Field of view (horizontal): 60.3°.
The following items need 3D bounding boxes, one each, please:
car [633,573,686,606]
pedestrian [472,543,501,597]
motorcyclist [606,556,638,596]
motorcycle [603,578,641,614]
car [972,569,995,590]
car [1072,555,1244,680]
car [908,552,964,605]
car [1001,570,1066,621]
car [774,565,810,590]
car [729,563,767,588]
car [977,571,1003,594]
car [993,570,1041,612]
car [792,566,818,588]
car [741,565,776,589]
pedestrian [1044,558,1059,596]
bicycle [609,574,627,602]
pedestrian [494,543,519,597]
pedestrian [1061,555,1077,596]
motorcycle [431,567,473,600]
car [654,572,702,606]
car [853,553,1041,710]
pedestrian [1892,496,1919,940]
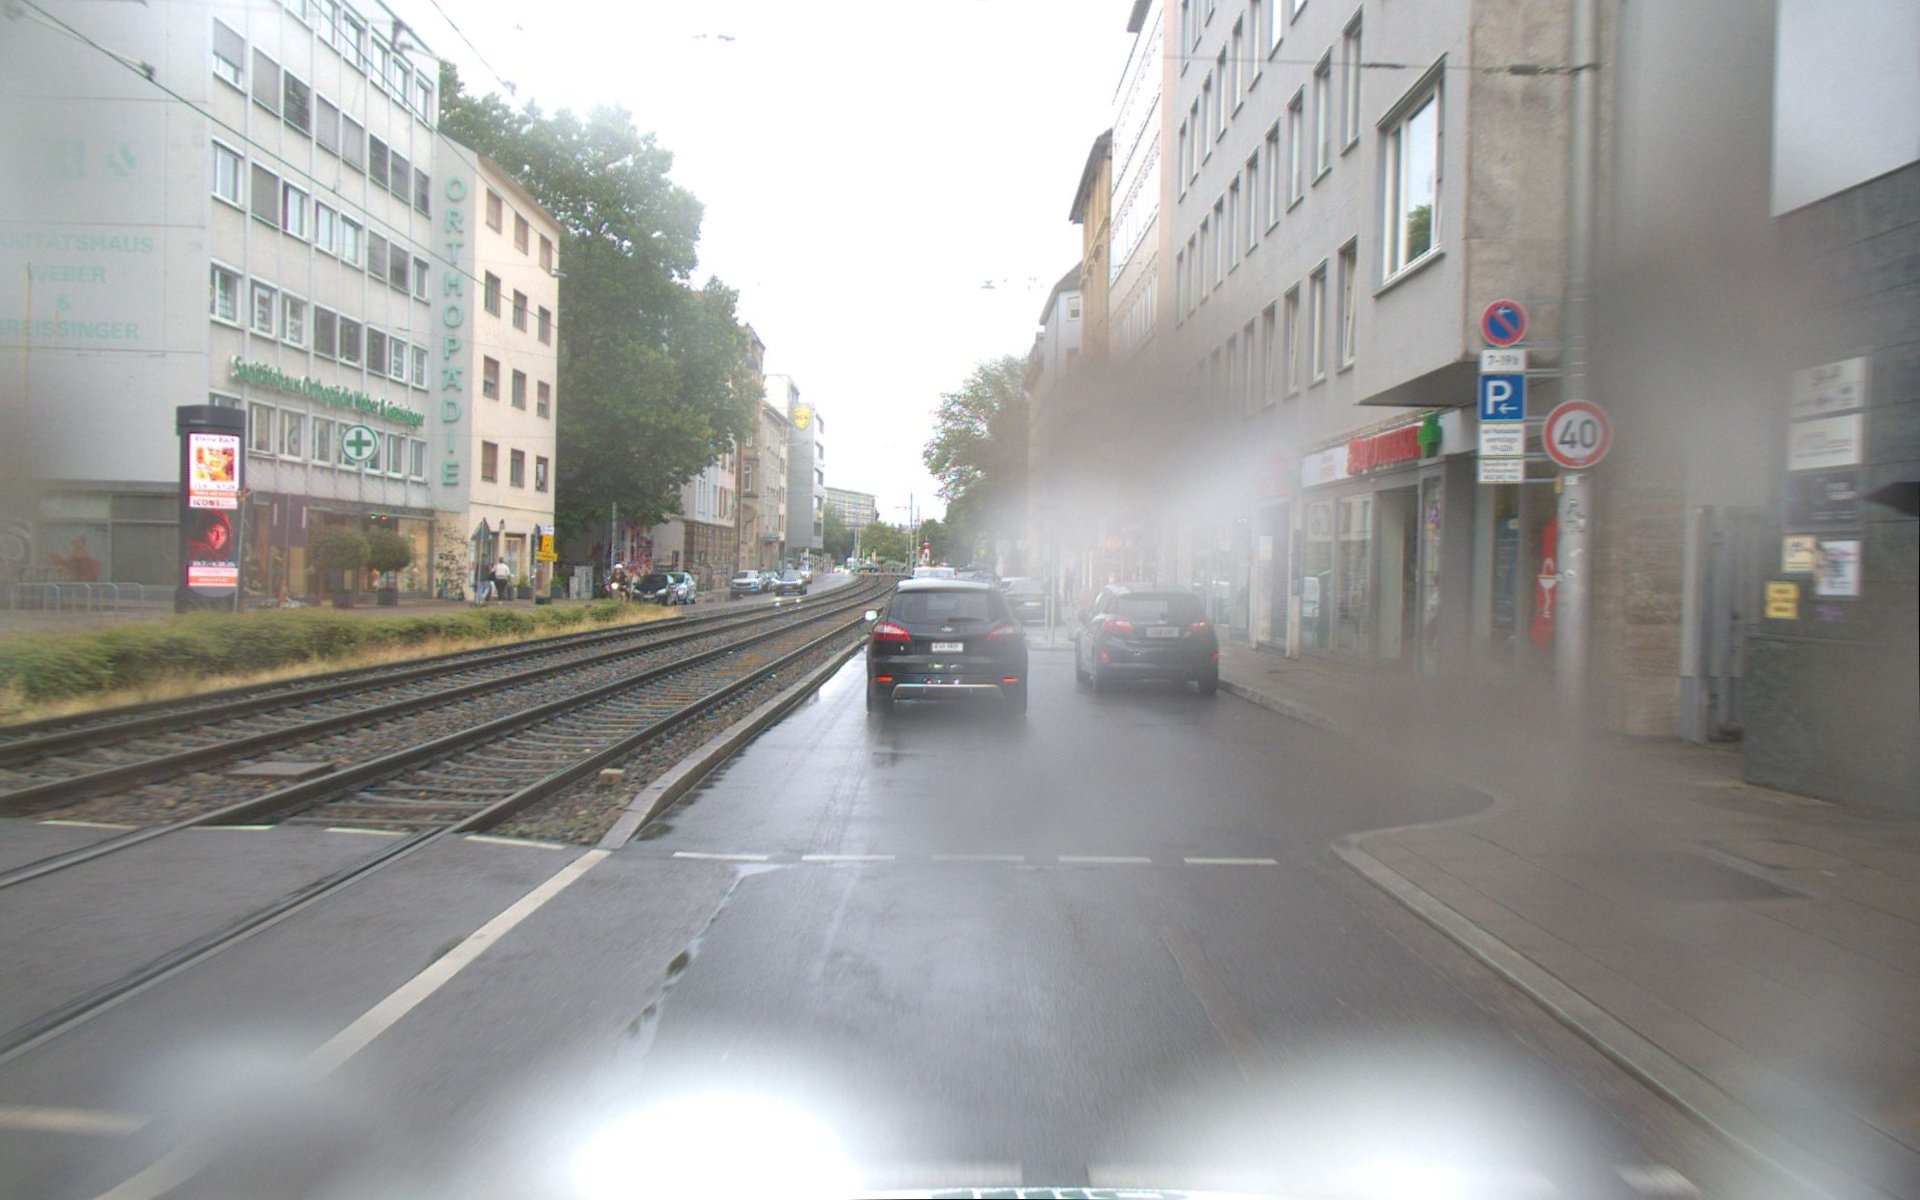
[{"bbox_3d":[-13.989,-0.511,77.157,1.708,1.494,4.219,0,1,-1],"label":"car"},{"bbox_3d":[-17.166,-1.090,59.973,0.712,1.929,0.983,1,0,-1],"label":"pedestrian"},{"bbox_3d":[-10.530,-0.746,51.556,0.726,1.239,0.970,1,0,1],"label":"motorcyclist"},{"bbox_3d":[-10.544,-0.121,51.646,0.727,1.078,1.932,1,0,1],"label":"motorcycle"},{"bbox_3d":[1.729,-1.532,122.659,1.609,1.542,4.038,1,1,-1],"label":"car"},{"bbox_3d":[2.718,0.228,23.631,1.953,1.622,4.271,0,0,0],"label":"car"},{"bbox_3d":[-0.837,-0.754,60.026,1.953,1.848,4.271,0,0,0],"label":"car"},{"bbox_3d":[2.402,-0.136,54.857,1.953,1.622,4.571,0,0,0],"label":"car"},{"bbox_3d":[-10.938,-1.461,107.918,1.953,1.545,4.444,1,1,-1],"label":"car"},{"bbox_3d":[-14.116,-1.622,110.425,1.953,1.545,4.435,1,1,-1],"label":"car"},{"bbox_3d":[2.116,-1.268,118.256,1.703,1.515,4.000,1,1,-1],"label":"car"},{"bbox_3d":[2.261,-0.384,66.627,1.710,1.549,4.355,1,1,-1],"label":"car"},{"bbox_3d":[-13.989,-2.086,149.779,1.953,1.871,5.070,2,1,-2],"label":"car"},{"bbox_3d":[-13.984,-1.596,115.022,1.953,1.545,4.209,1,1,-1],"label":"car"},{"bbox_3d":[4.649,-1.165,83.764,0.648,1.884,0.821,1,1,-1],"label":"pedestrian"},{"bbox_3d":[-15.372,-0.532,74.304,0.579,1.248,2.400,1,0,-7],"label":"bicycle"},{"bbox_3d":[-16.409,-1.086,59.797,0.664,1.929,0.742,1,0,-1],"label":"pedestrian"},{"bbox_3d":[5.529,-1.252,83.813,0.721,2.048,0.821,1,1,-1],"label":"pedestrian"},{"bbox_3d":[-19.058,-0.603,62.063,1.447,1.200,0.386,1,1,-2],"label":"motorcycle"},{"bbox_3d":[-13.957,-0.563,82.102,1.687,1.597,4.219,1,1,-1],"label":"car"},{"bbox_3d":[-0.136,0.327,19.360,1.953,1.622,4.271,0,0,0],"label":"car"},{"bbox_3d":[3.879,0.430,5.855,0.650,1.610,0.774,0,0,-22],"label":"pedestrian"}]
